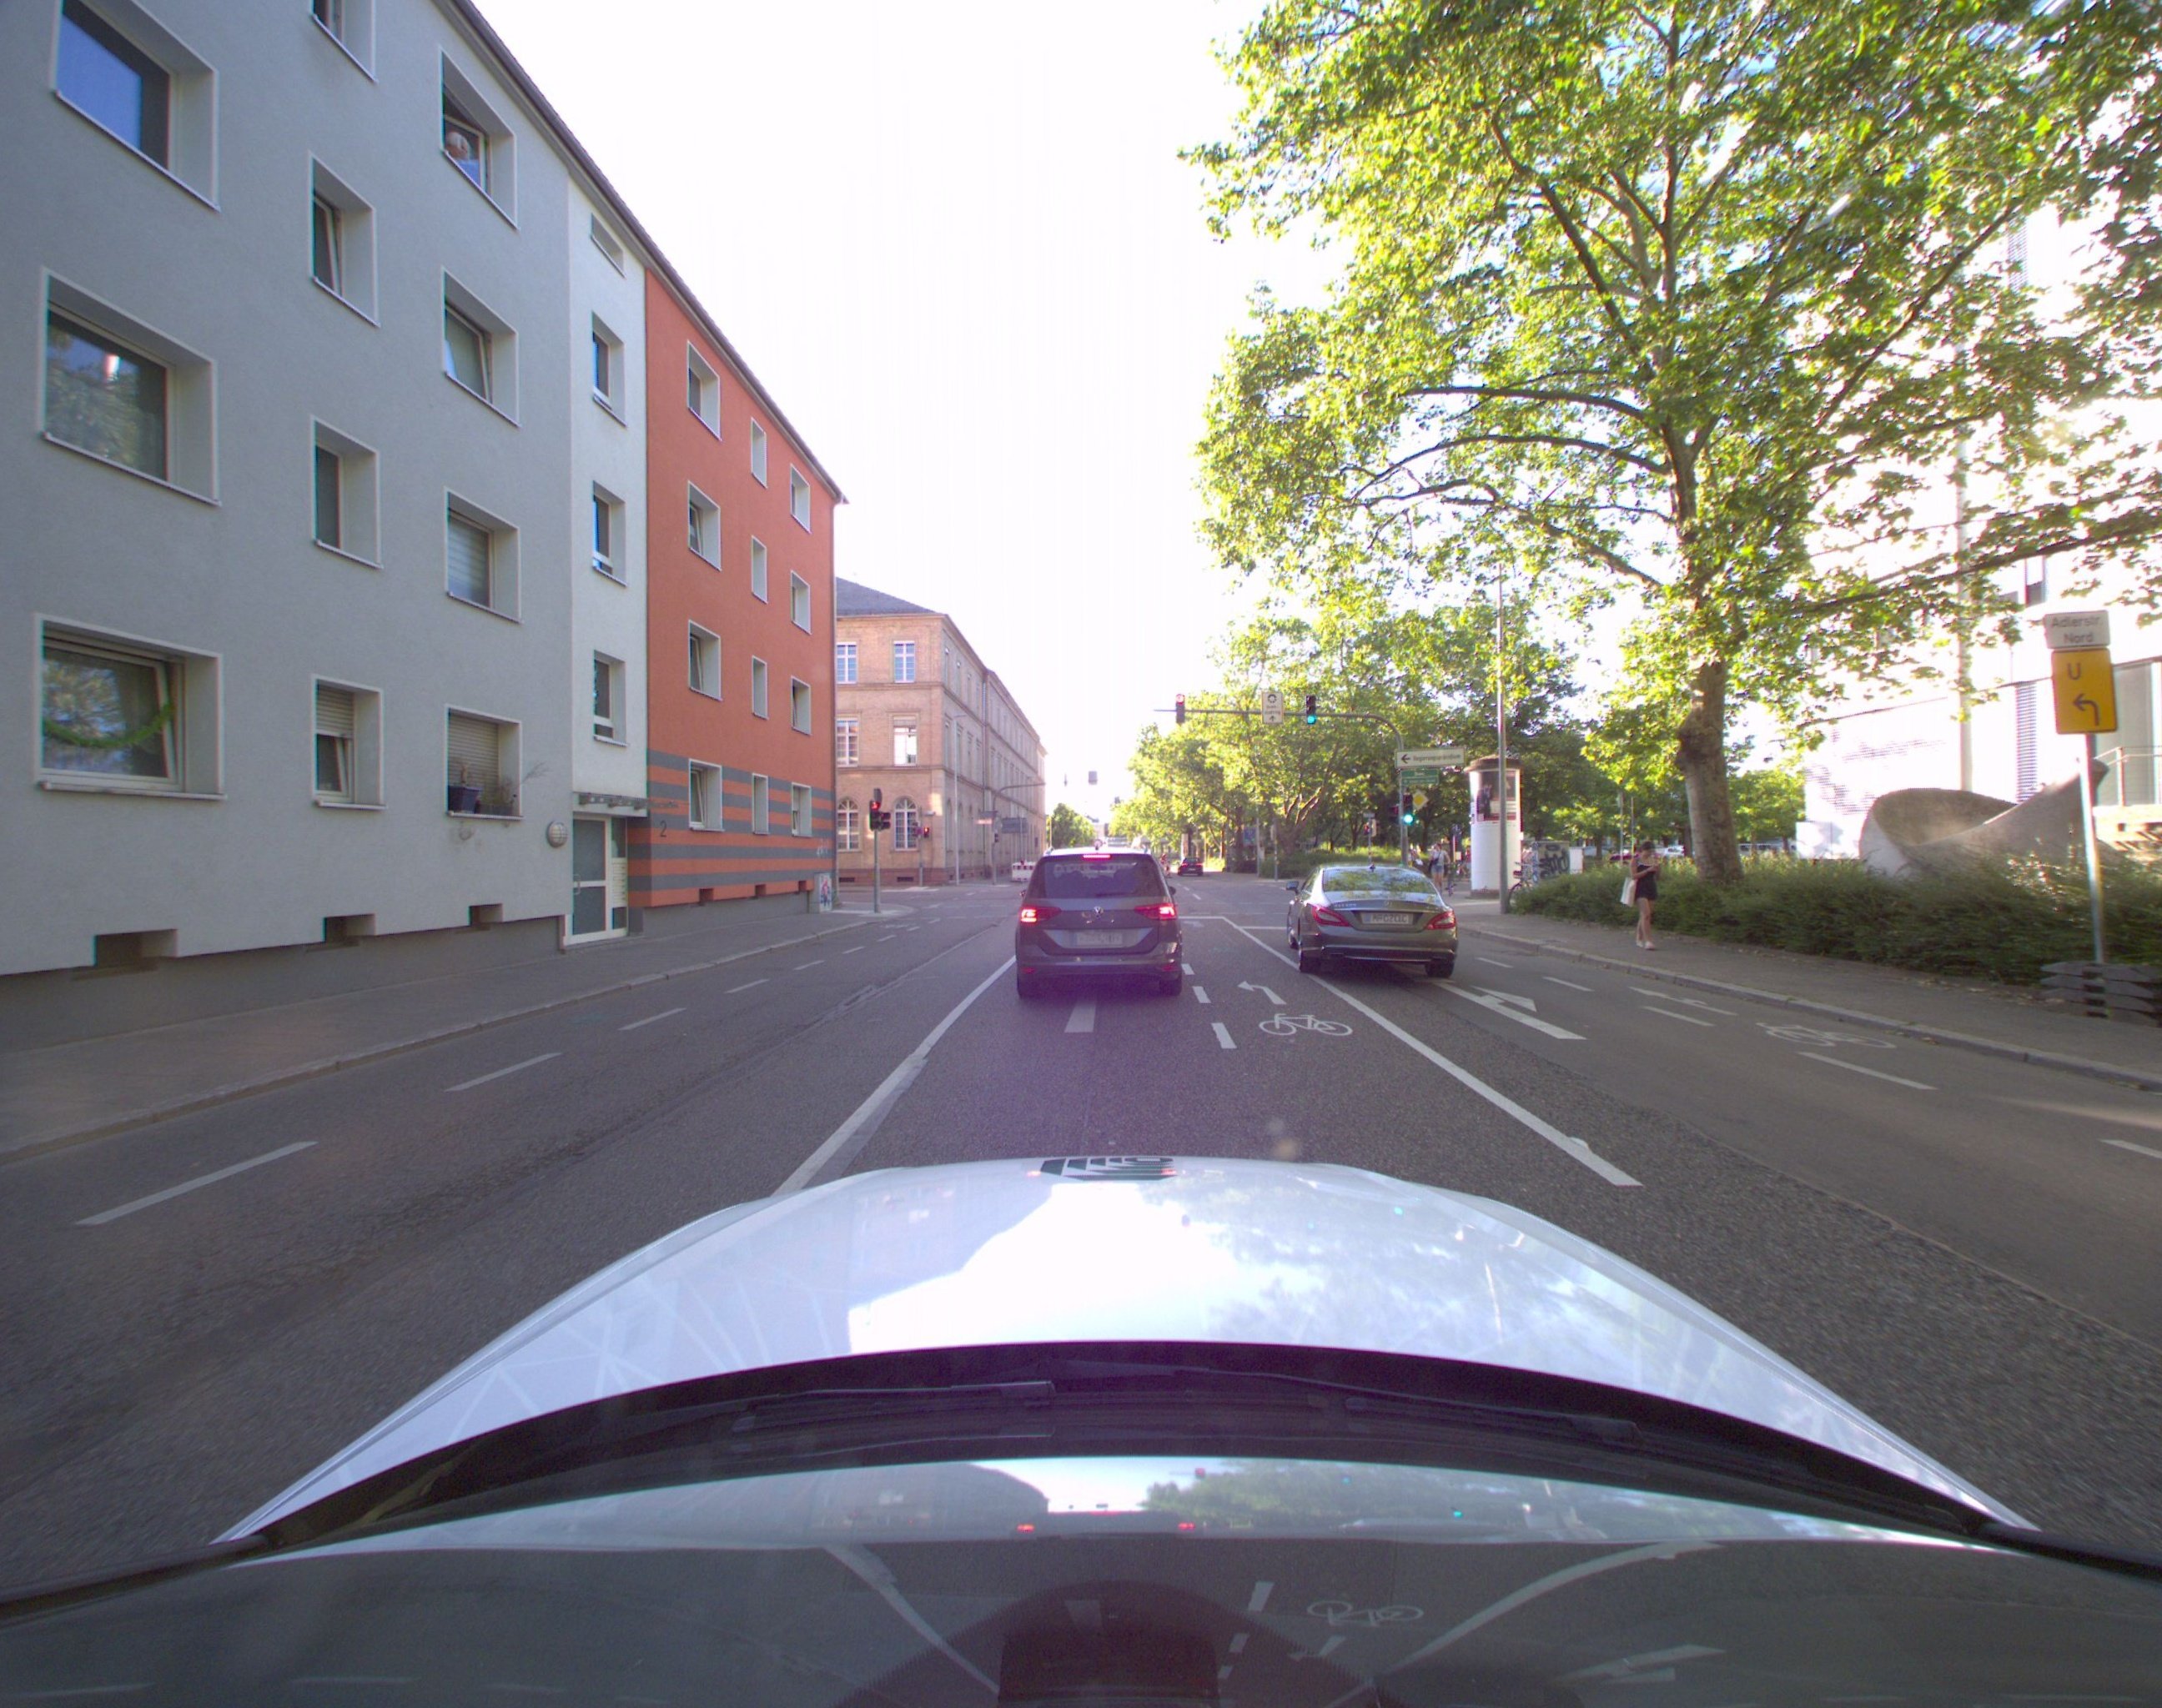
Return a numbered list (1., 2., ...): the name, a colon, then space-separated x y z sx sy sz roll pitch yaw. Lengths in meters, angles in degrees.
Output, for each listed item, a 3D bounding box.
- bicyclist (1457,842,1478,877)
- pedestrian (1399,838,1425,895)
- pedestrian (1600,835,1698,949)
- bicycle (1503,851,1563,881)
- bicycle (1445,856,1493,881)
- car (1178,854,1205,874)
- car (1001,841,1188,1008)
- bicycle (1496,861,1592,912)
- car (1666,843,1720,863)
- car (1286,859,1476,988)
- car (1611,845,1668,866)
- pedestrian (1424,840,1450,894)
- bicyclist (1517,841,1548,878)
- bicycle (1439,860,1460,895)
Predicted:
1. bicyclist: 18.757 0.275 39.576 0.707 1.697 0.676 0 -1 2
2. pedestrian: 10.923 0.414 26.927 0.726 1.808 0.914 -2 -2 21
3. pedestrian: 8.623 0.557 12.409 0.794 1.630 0.908 -3 0 4
4. bicycle: 20.165 0.548 36.389 2.279 1.326 0.661 0 -1 3
5. bicycle: 18.833 0.694 39.550 2.023 1.220 0.599 0 -1 2
6. car: 8.323 0.716 61.518 1.682 1.440 3.905 1 0 3
7. car: 0.283 0.710 9.982 1.801 1.612 4.005 -1 0 4
8. bicycle: 11.036 0.768 19.449 1.968 1.190 0.528 0 -1 1
9. car: 48.337 -0.066 64.400 1.566 1.468 3.797 0 0 2
10. car: 3.955 0.793 11.487 1.831 1.429 4.531 0 0 11
11. car: 40.625 0.095 59.297 1.623 1.482 3.797 0 0 2
12. pedestrian: 11.604 0.419 26.554 0.678 1.697 0.975 0 -1 17
13. bicyclist: 20.155 0.244 36.381 0.959 1.615 0.871 0 -1 4
14. bicycle: 11.985 0.732 26.504 0.520 1.100 1.750 0 0 21
